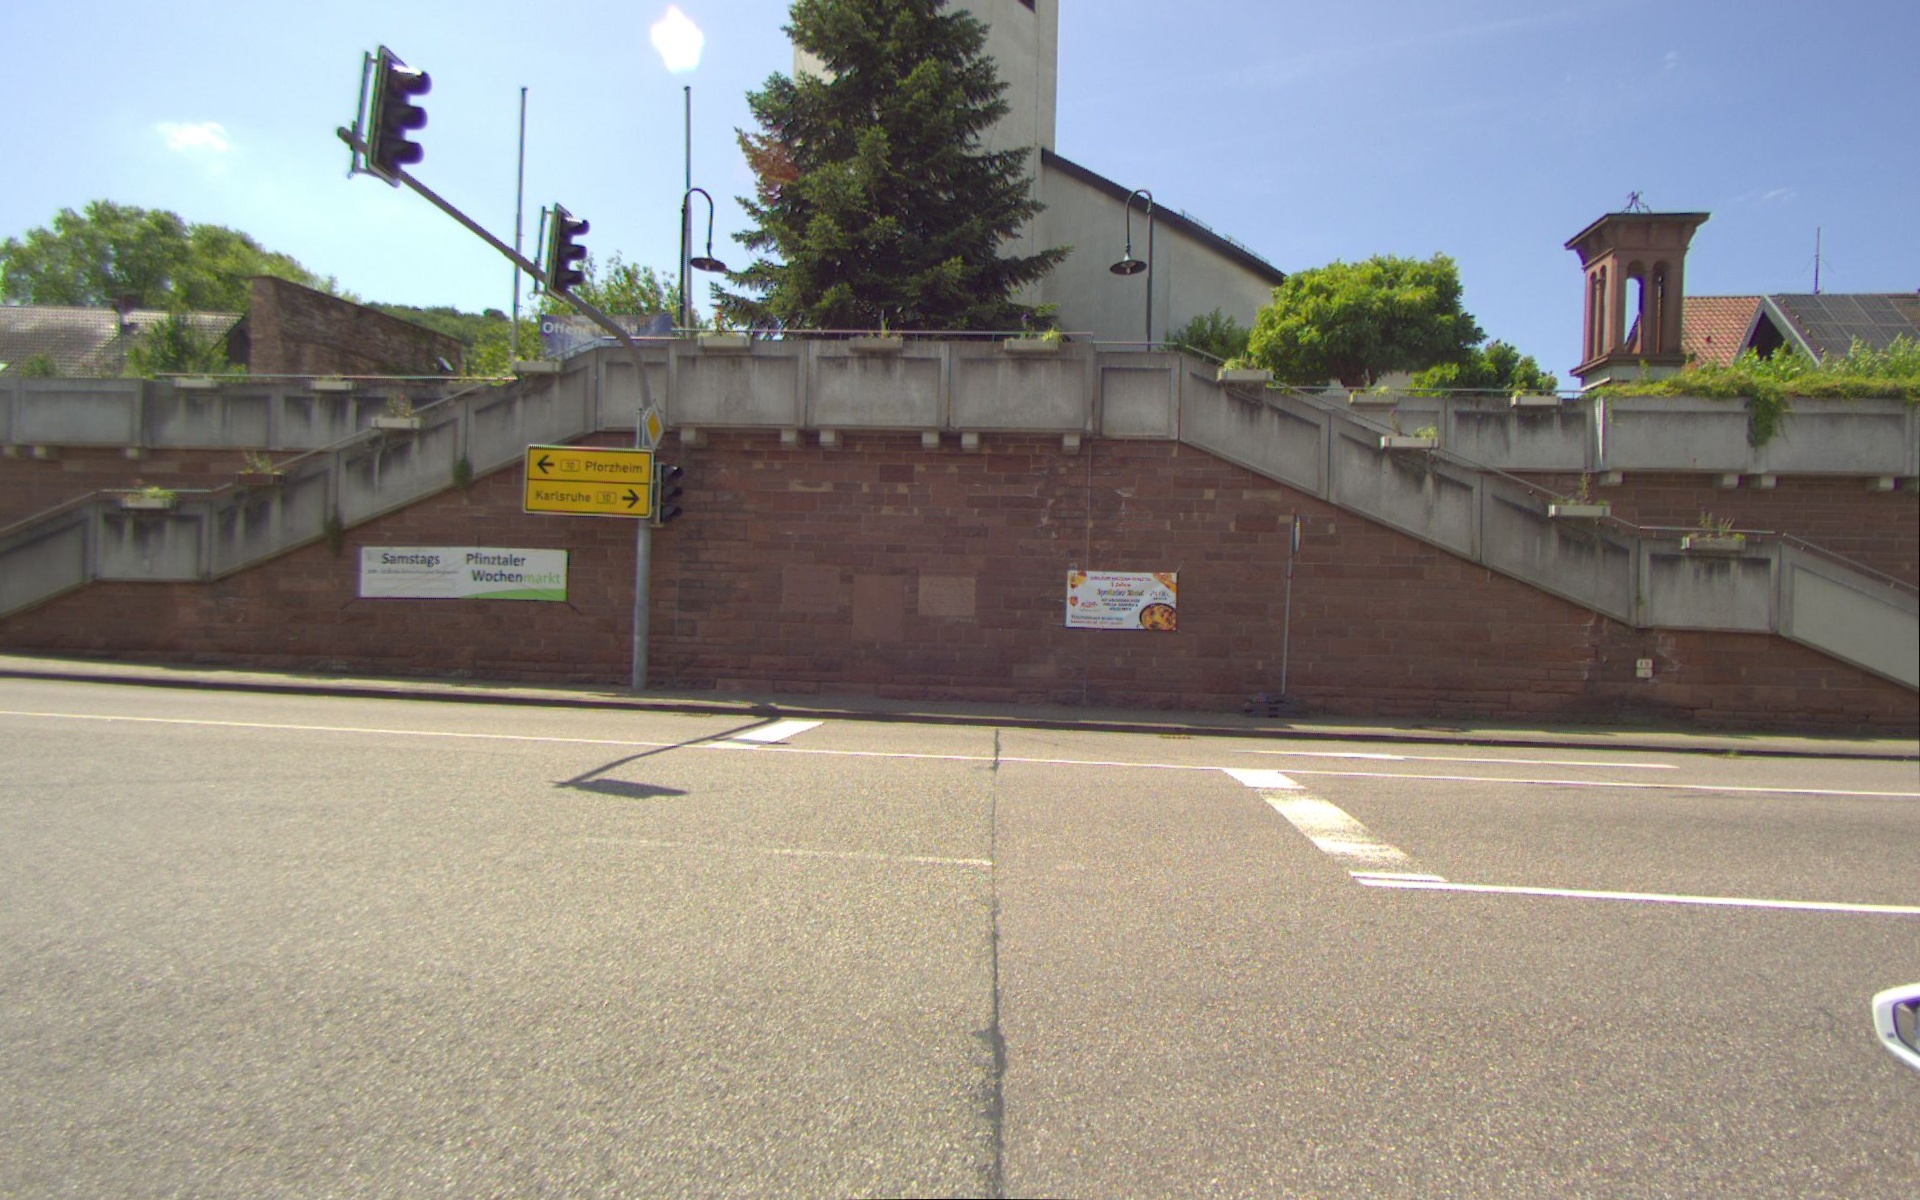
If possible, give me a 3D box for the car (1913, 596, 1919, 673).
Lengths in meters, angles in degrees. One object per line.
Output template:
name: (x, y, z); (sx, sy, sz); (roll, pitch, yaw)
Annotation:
car: (28.073, 0.935, 24.970); (5.874, 2.040, 2.526); (1, -2, 13)
